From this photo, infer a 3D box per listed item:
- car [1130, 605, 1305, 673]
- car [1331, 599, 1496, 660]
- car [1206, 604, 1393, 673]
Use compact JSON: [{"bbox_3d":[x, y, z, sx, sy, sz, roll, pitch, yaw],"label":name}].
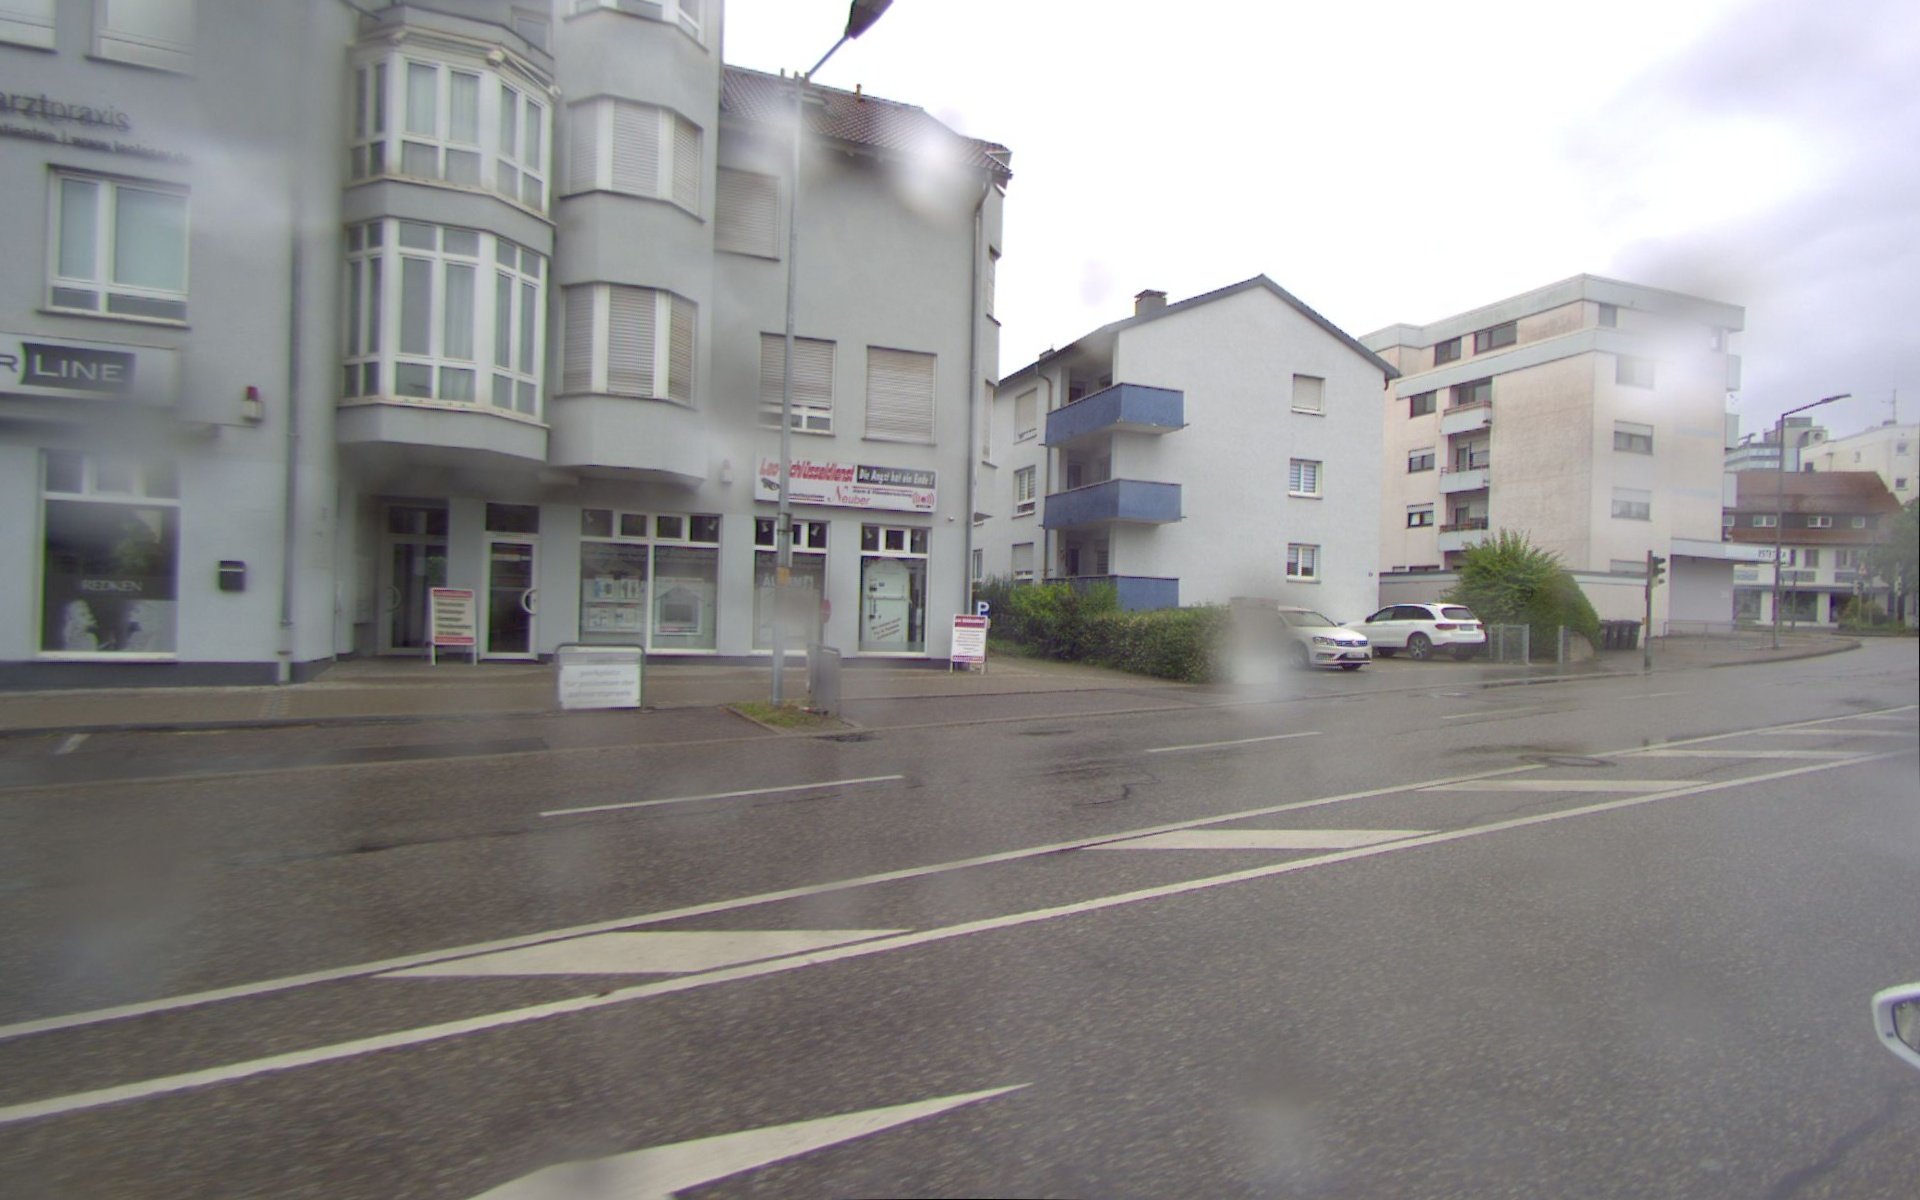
[{"bbox_3d":[5.890,0.847,23.462,1.879,1.430,3.974,1,0,-26],"label":"car"},{"bbox_3d":[13.367,0.827,29.929,1.910,1.658,4.443,1,0,-21],"label":"car"},{"bbox_3d":[8.043,0.862,24.206,1.879,1.493,4.206,1,0,-25],"label":"car"}]
